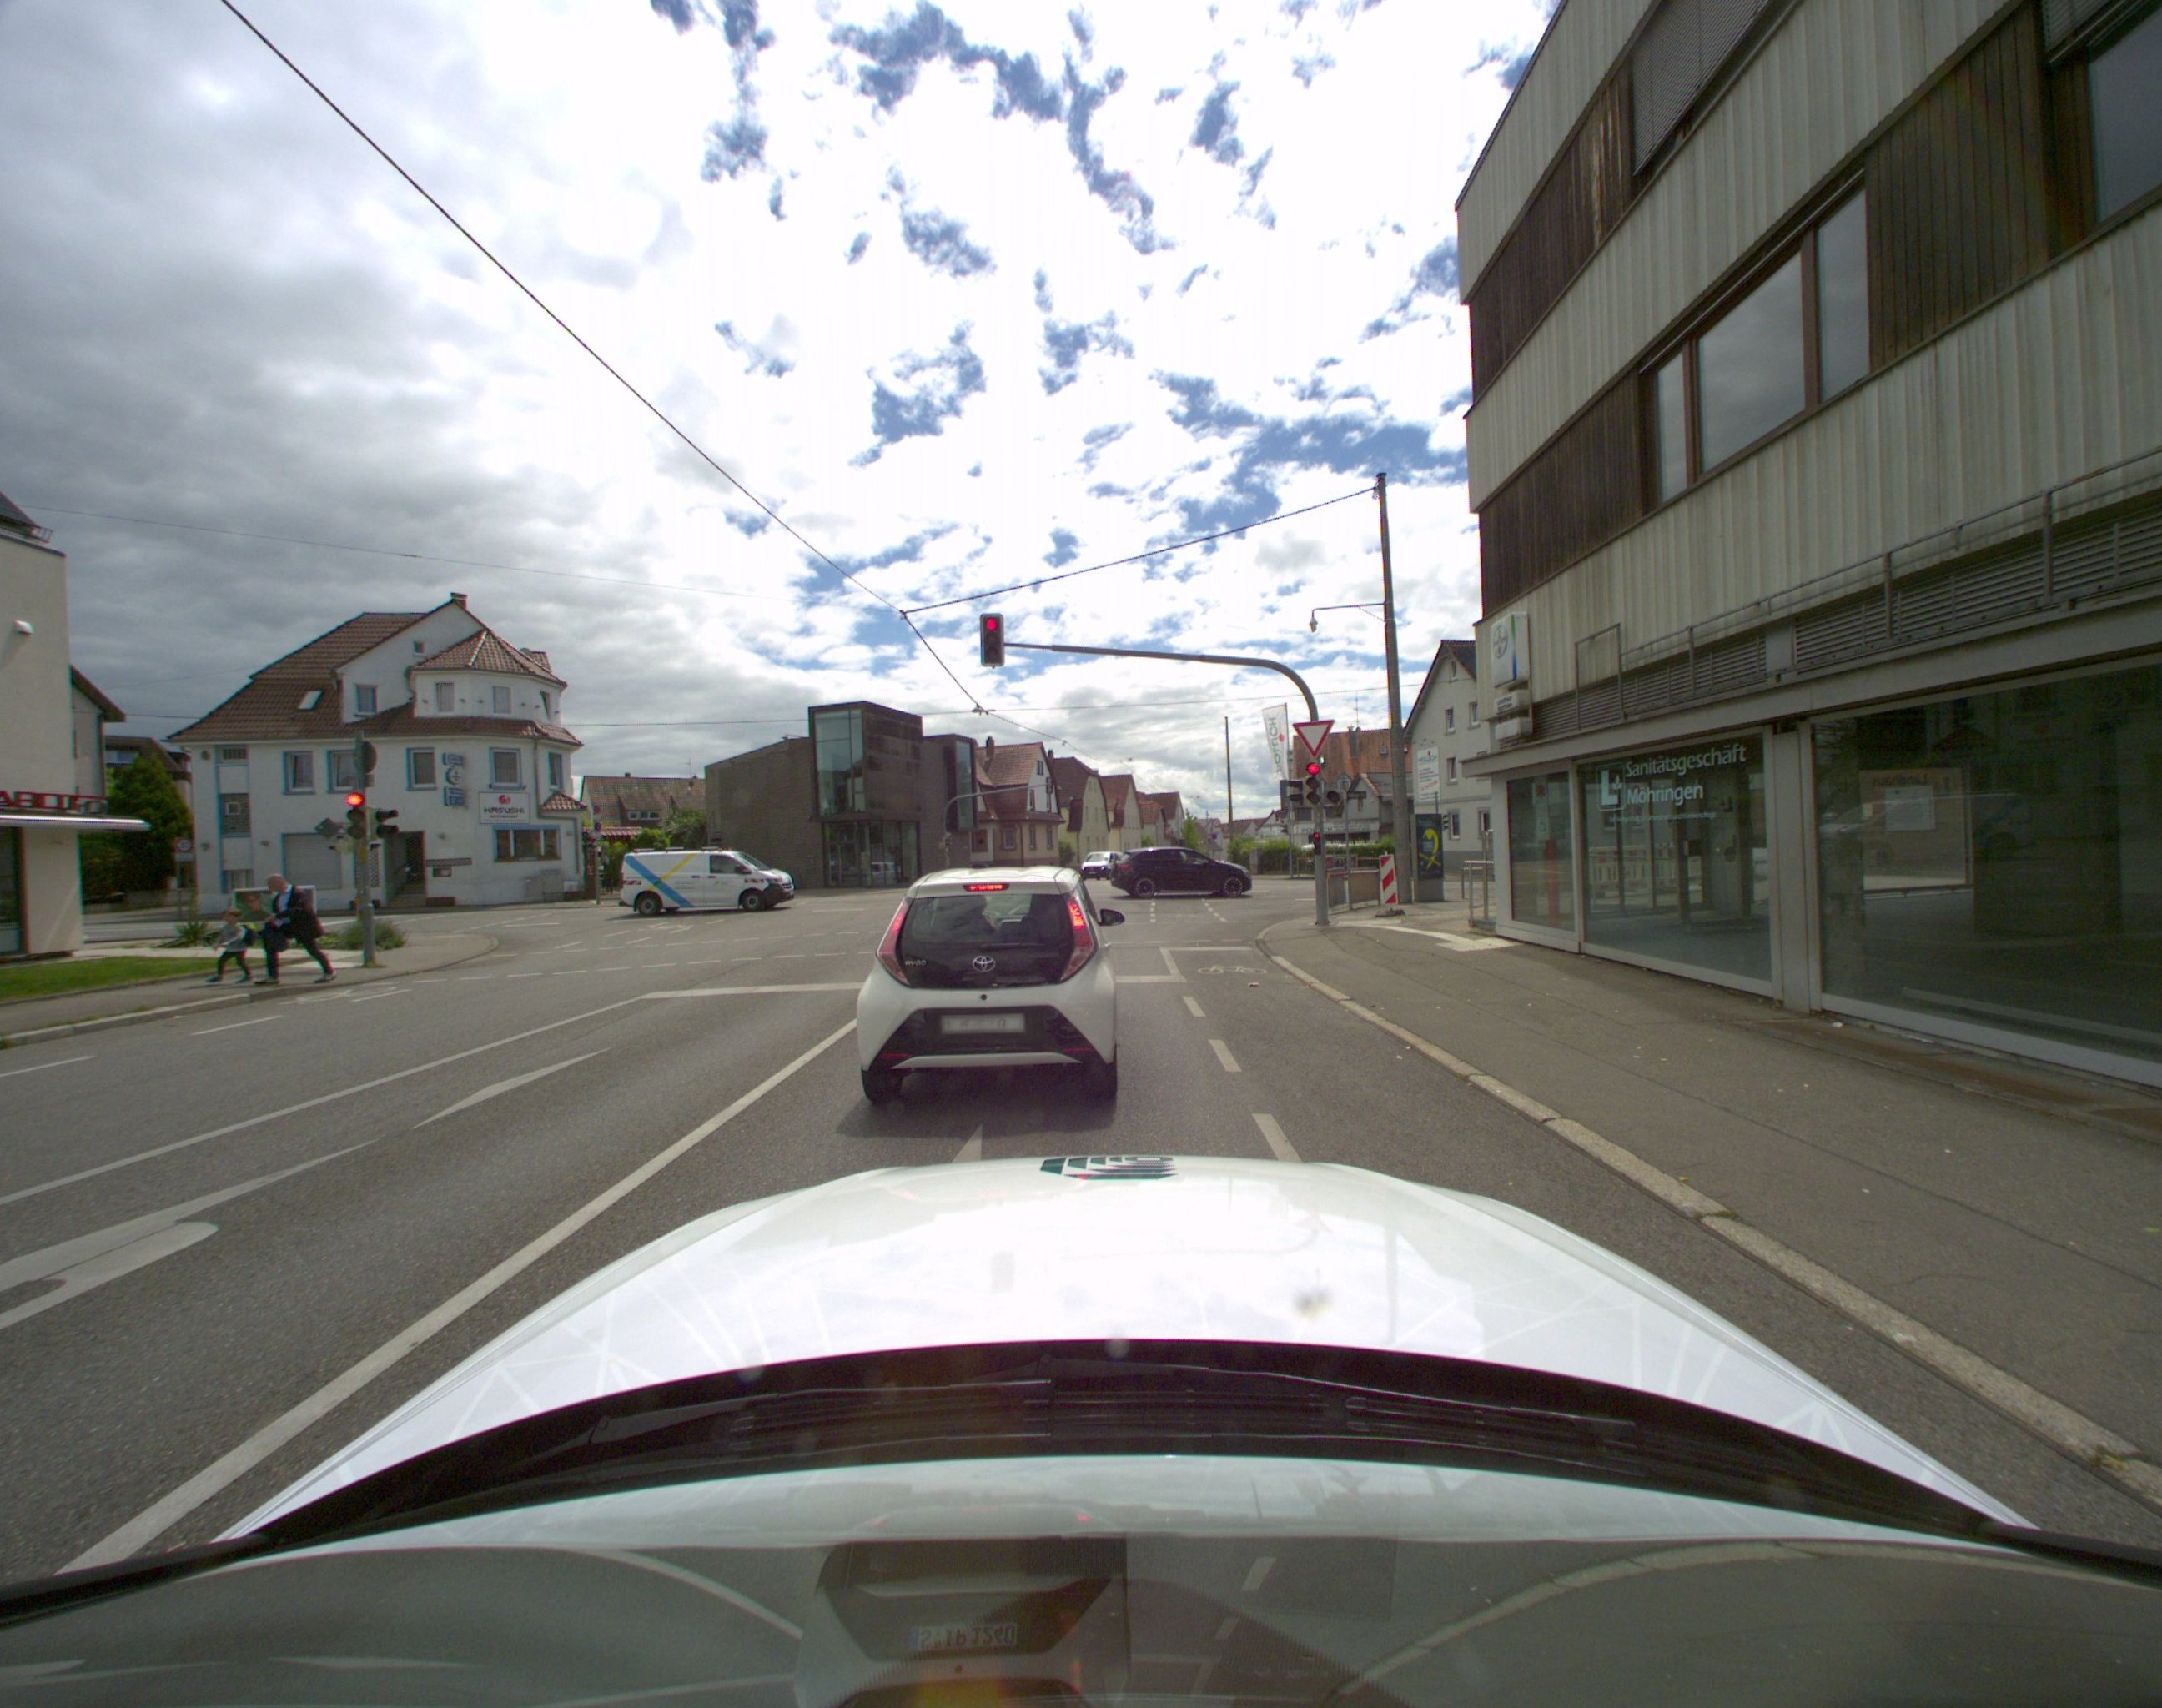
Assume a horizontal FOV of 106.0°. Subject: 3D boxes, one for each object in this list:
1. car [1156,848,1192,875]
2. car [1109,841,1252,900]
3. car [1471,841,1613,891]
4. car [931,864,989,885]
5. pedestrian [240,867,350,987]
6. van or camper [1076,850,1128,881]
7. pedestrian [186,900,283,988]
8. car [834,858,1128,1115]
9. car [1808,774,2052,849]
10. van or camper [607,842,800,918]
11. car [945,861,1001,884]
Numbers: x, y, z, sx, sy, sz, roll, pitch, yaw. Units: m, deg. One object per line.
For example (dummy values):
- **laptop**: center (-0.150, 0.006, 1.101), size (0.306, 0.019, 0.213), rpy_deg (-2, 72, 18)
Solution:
- **car**: center (6.679, 0.547, 58.152), size (1.979, 1.849, 4.089), rpy_deg (-1, 0, 15)
- **car**: center (3.337, 0.525, 27.870), size (4.495, 1.742, 1.996), rpy_deg (-2, 2, -7)
- **car**: center (17.196, 0.428, 30.468), size (4.291, 1.675, 1.994), rpy_deg (-2, 0, -9)
- **car**: center (-8.477, 1.450, 57.105), size (3.589, 1.419, 1.697), rpy_deg (-1, 0, 13)
- **pedestrian**: center (-11.879, 1.072, 12.343), size (0.811, 1.721, 0.826), rpy_deg (-2, 0, 3)
- **van or camper**: center (1.442, 0.722, 53.873), size (2.099, 1.926, 5.308), rpy_deg (-1, 0, 17)
- **pedestrian**: center (-12.662, 1.330, 12.197), size (0.640, 1.221, 0.737), rpy_deg (-2, 0, 5)
- **car**: center (-0.577, 0.775, 6.374), size (1.691, 1.456, 3.298), rpy_deg (-1, 0, 0)
- **car**: center (25.111, -1.199, 24.322), size (4.666, 2.014, 2.009), rpy_deg (-1, 0, 16)
- **van or camper**: center (-11.834, 0.786, 25.866), size (5.113, 2.077, 1.995), rpy_deg (-2, 0, -8)
- **car**: center (-7.830, 1.357, 59.215), size (3.589, 1.605, 1.697), rpy_deg (-1, 0, 13)
